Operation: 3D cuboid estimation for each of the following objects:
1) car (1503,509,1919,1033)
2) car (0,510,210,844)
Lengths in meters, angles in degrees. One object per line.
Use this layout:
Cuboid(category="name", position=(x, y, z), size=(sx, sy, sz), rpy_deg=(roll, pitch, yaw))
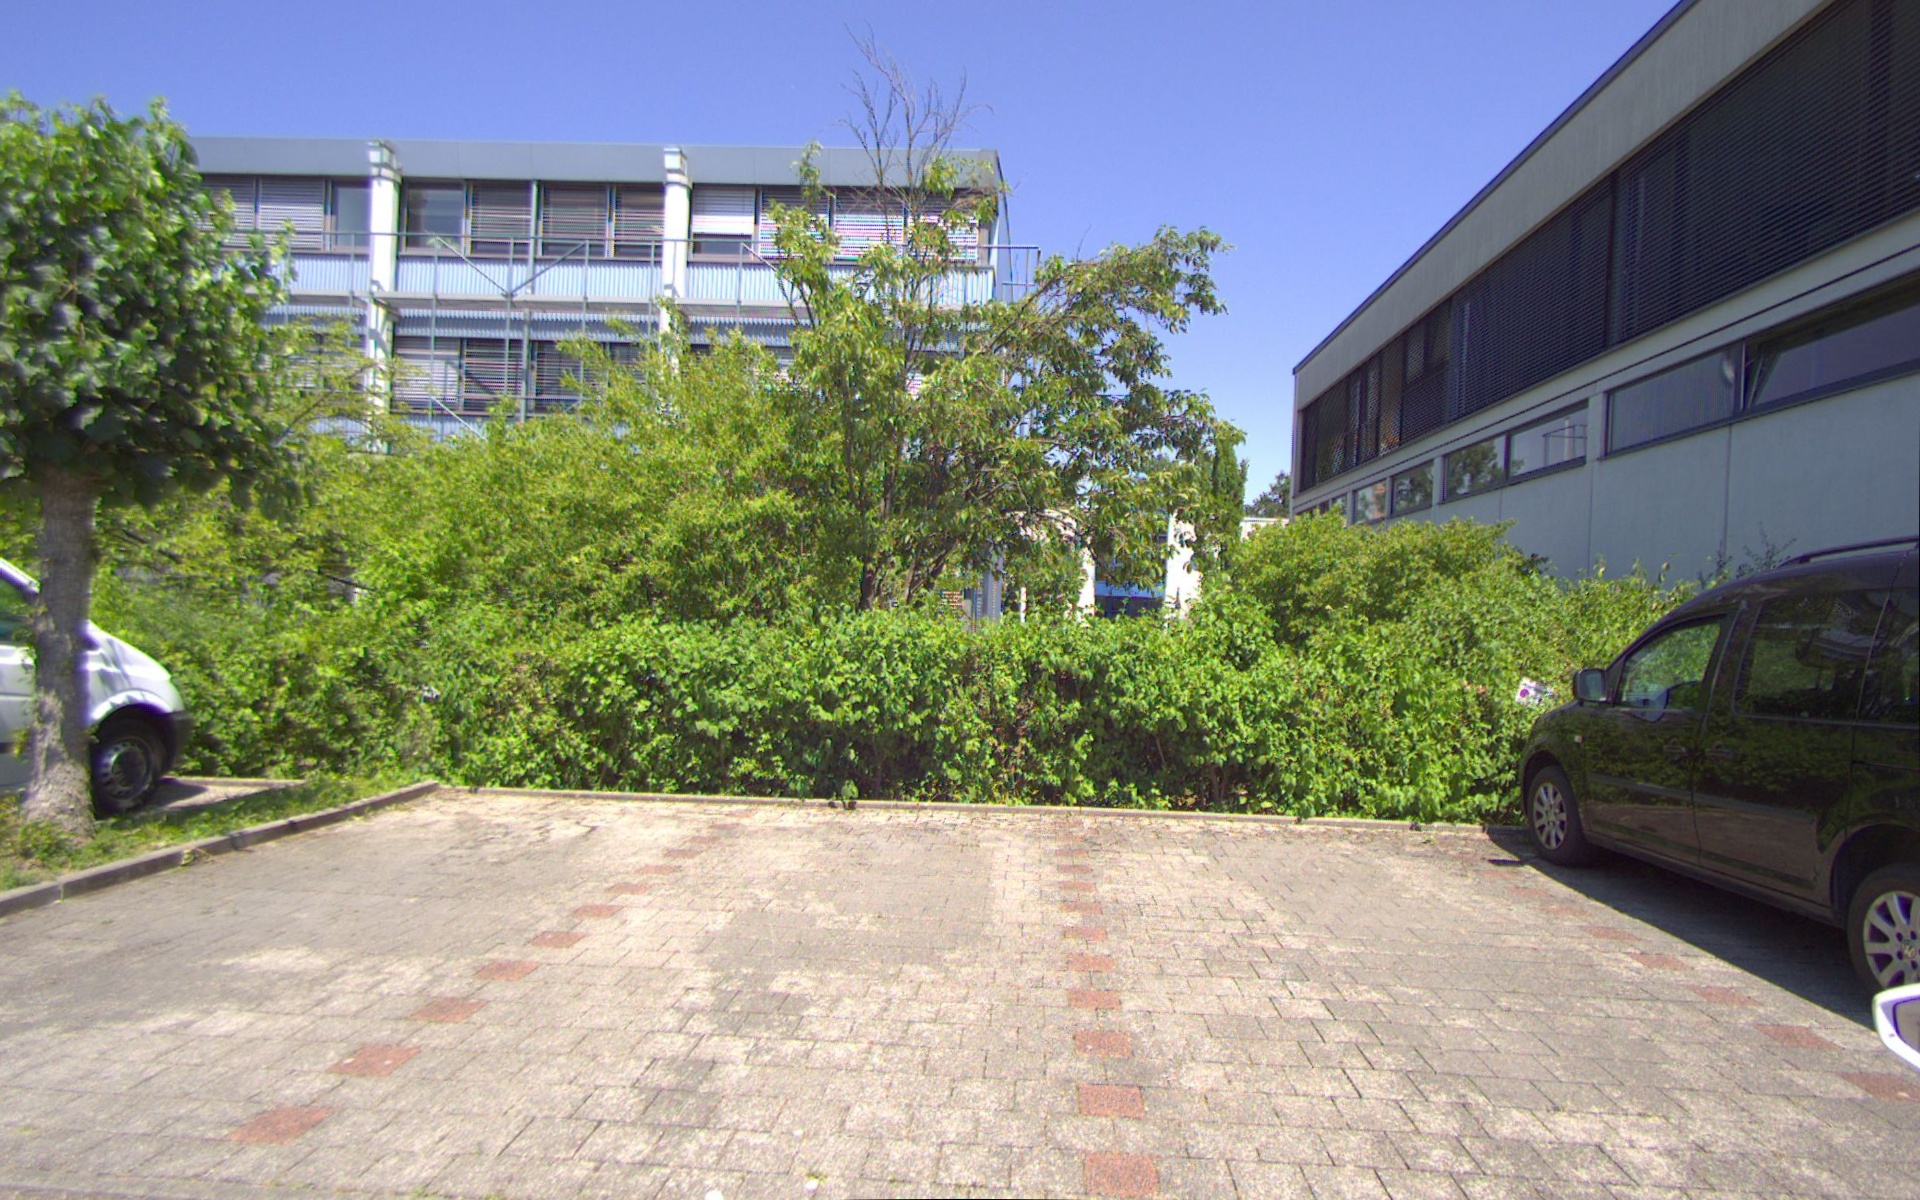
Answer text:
Cuboid(category="car", position=(4.440, 0.655, 4.887), size=(1.645, 1.909, 4.073), rpy_deg=(1, -1, 5))
Cuboid(category="car", position=(-6.479, 0.413, 4.964), size=(1.793, 1.931, 4.737), rpy_deg=(1, -1, 3))
